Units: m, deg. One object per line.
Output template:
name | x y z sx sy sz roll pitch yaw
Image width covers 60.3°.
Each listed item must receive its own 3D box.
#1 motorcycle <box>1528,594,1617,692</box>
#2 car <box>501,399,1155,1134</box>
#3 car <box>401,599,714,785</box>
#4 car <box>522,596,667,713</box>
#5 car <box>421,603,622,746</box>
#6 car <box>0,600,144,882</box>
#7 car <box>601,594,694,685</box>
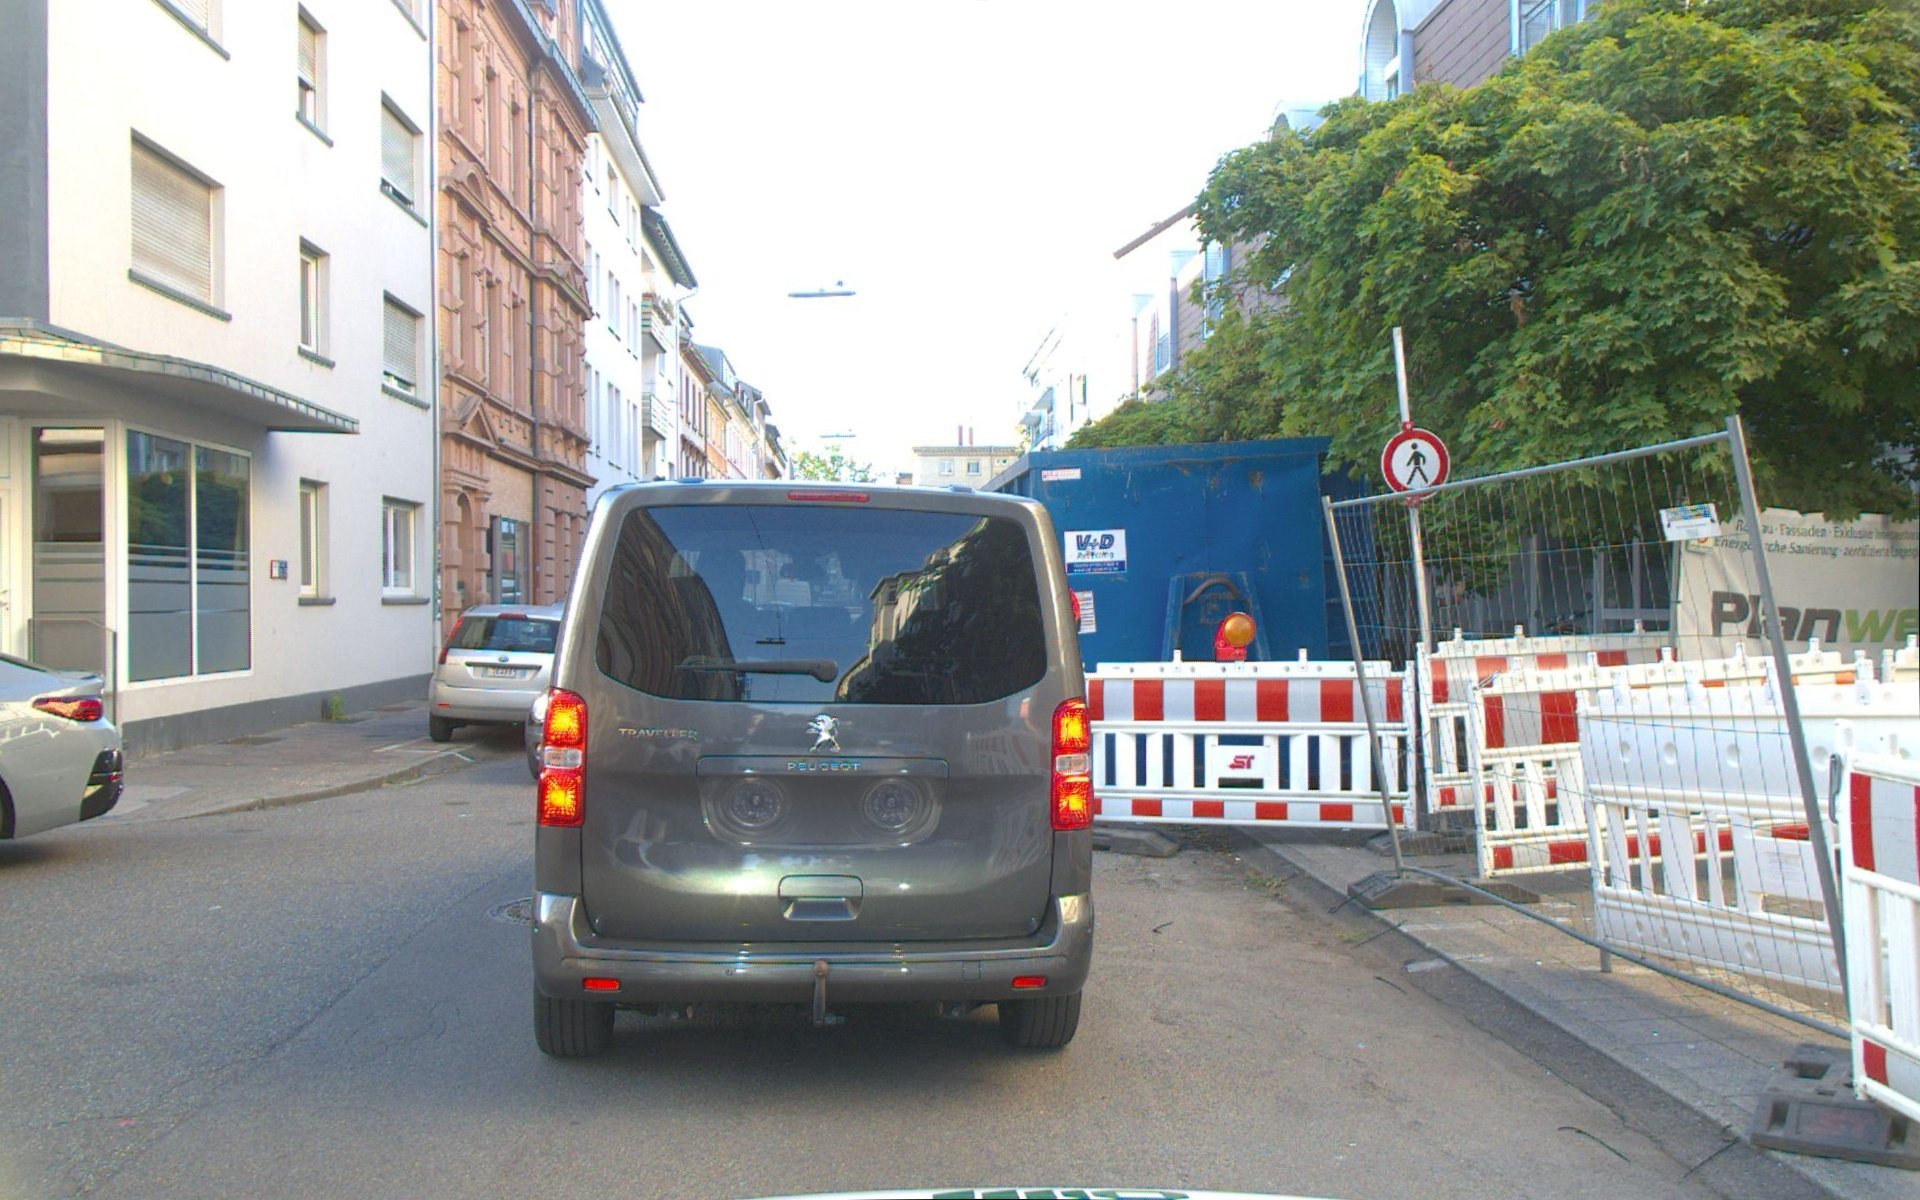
motorcycle | 8.236 0.561 22.324 0.851 1.244 2.459 -1 -1 14
car | -0.510 0.461 6.800 1.821 2.049 3.997 -2 0 -4
car | -3.576 0.745 15.476 1.953 1.512 4.000 0 0 0
car | -5.293 0.744 24.329 1.525 1.535 3.594 2 0 -4
car | -4.866 0.768 18.771 1.600 1.455 3.551 0 0 -5
car | -7.004 0.761 8.652 4.619 1.512 1.971 0 0 -40
car | -5.816 0.704 30.984 1.368 1.616 2.791 1 0 -4
